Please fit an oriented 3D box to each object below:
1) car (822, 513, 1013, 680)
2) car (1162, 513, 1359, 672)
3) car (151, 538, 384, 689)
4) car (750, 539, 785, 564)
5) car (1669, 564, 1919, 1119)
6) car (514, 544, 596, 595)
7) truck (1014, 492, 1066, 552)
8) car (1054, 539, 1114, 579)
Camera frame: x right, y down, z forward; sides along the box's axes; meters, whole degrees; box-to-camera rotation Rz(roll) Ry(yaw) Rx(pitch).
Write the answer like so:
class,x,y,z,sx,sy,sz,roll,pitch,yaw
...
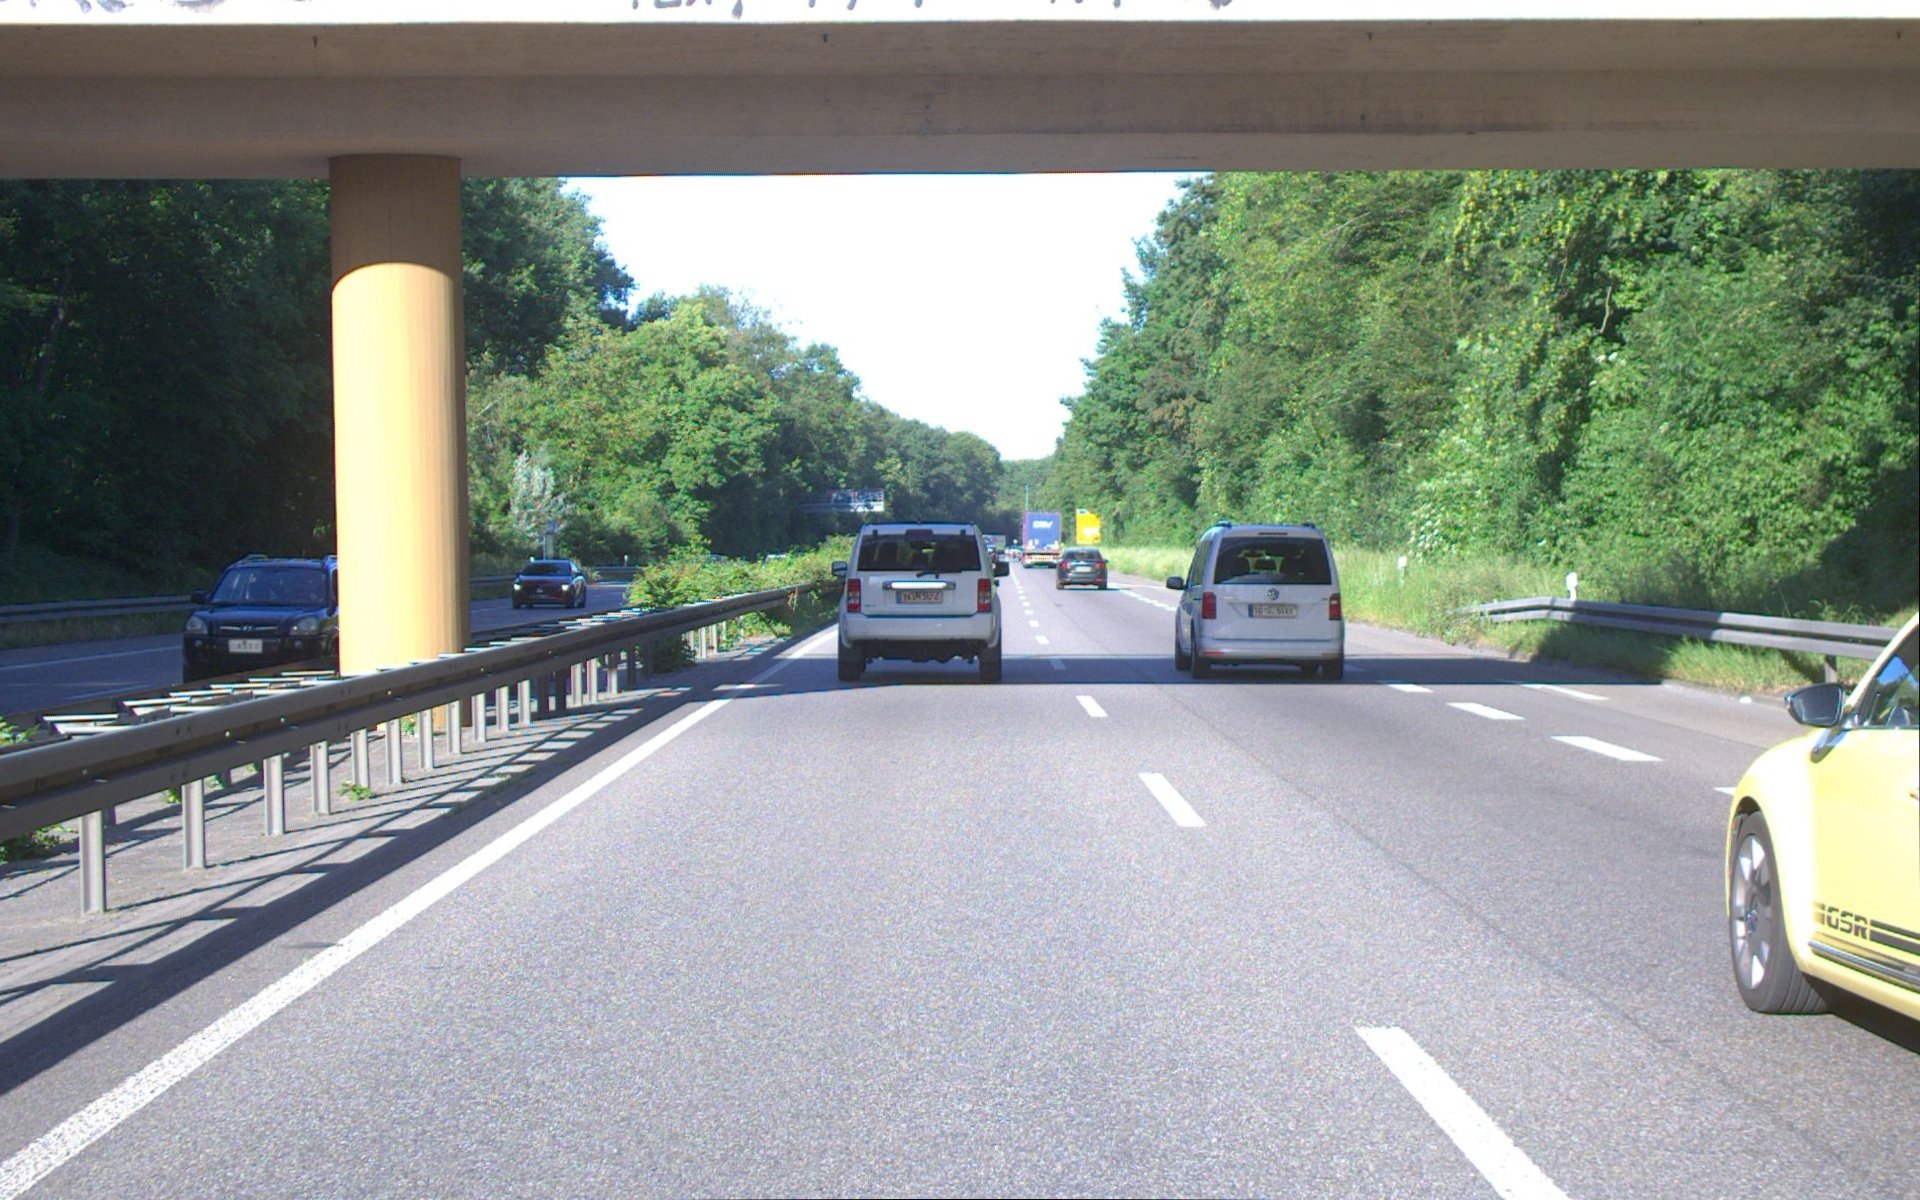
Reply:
class,x,y,z,sx,sy,sz,roll,pitch,yaw
car,-0.502,-0.071,39.563,2.085,1.822,4.000,0,1,-1
car,3.520,-0.122,40.992,1.863,1.764,4.470,-1,1,-1
car,-8.483,0.112,42.495,1.960,1.718,4.592,-1,1,-1
car,-11.505,-2.928,205.330,1.960,1.445,4.507,0,1,-2
car,3.488,0.649,9.851,1.879,1.456,4.356,0,1,-2
car,-12.077,-0.927,102.745,1.960,1.445,4.584,0,1,-1
truck,5.675,-5.523,245.681,3.496,4.158,8.862,-1,1,1
car,4.439,-1.489,123.520,1.993,1.393,4.000,-1,1,1
